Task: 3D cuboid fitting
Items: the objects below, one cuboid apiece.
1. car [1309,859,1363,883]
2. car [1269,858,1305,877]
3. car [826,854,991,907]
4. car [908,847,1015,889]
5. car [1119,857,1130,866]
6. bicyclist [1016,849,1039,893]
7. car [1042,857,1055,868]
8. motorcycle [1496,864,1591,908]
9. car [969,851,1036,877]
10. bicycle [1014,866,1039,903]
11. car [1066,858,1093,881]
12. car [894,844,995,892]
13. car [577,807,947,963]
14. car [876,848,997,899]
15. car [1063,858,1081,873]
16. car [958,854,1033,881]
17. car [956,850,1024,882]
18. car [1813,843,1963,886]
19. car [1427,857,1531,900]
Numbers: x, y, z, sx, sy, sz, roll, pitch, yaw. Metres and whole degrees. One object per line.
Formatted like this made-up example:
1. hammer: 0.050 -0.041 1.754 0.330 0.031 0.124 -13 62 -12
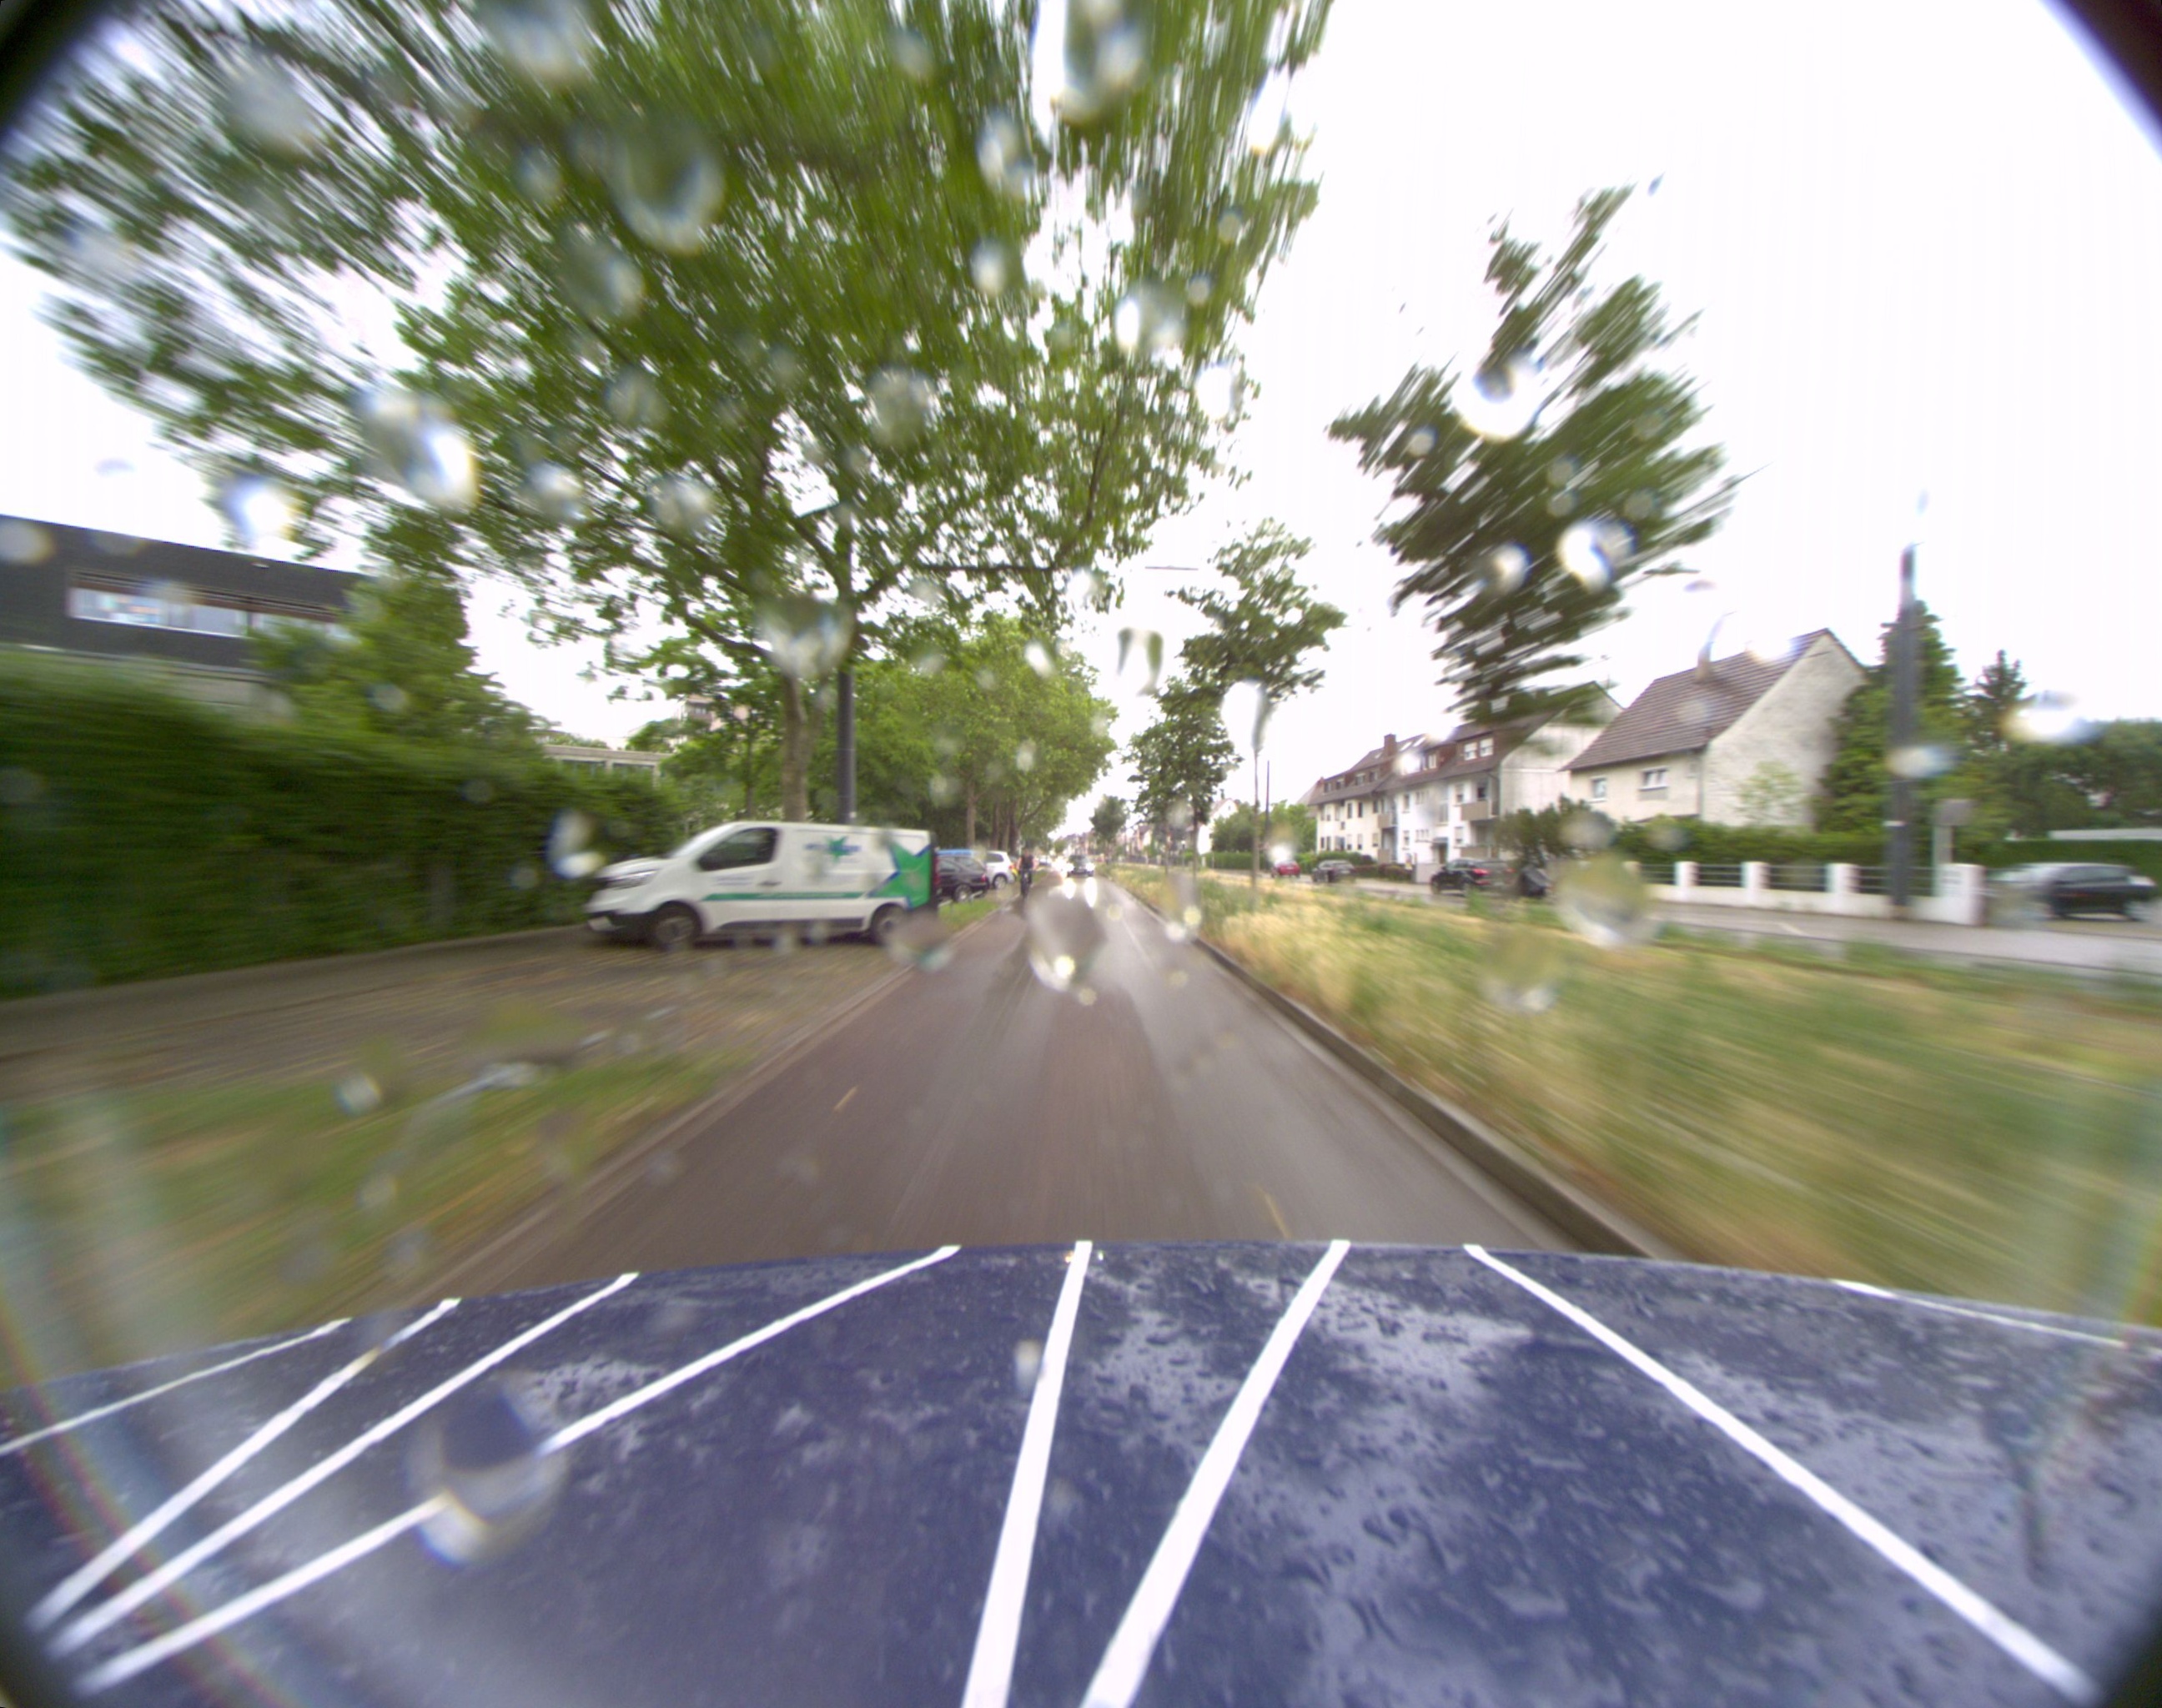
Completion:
1. car: 16.311 1.053 48.899 1.998 1.402 4.762 -1 0 2
2. car: 16.292 1.036 60.277 1.802 1.448 4.001 -1 0 2
3. car: -4.897 0.718 21.869 4.315 1.376 1.736 0 0 -40
4. car: -4.876 0.574 31.254 4.056 1.631 1.649 1 1 -38
5. car: 10.234 1.828 179.547 2.000 2.002 3.998 1 0 -7
6. bicyclist: -1.772 0.569 25.209 0.675 1.421 0.753 2 0 -1
7. car: -4.585 1.203 107.751 1.781 1.477 3.999 3 0 -1
8. motorcycle: 16.356 1.106 26.900 2.680 1.403 1.269 0 2 42
9. car: -5.032 0.625 48.749 3.812 1.523 1.878 2 -1 -33
10. bicycle: -1.787 0.986 25.270 0.675 1.136 2.445 3 0 -1
11. car: -0.134 1.041 53.957 1.781 1.477 3.999 3 0 -1
12. car: -5.089 0.535 28.376 3.282 1.662 1.588 2 1 -34
13. car: -4.894 0.487 12.034 5.040 2.001 1.995 3 -1 -35
14. car: -4.786 0.659 25.278 3.412 1.509 1.845 2 1 -37
15. car: -1.010 1.198 82.095 1.781 1.477 3.999 3 0 -1
16. car: -5.109 0.830 45.540 4.071 1.410 1.737 2 1 -37
17. car: -4.536 0.600 37.711 2.910 1.457 1.599 2 1 -29
18. car: 30.770 0.385 29.053 3.968 1.531 1.704 -1 0 -1
19. car: 16.643 0.968 32.047 1.999 1.665 4.386 0 0 -2
